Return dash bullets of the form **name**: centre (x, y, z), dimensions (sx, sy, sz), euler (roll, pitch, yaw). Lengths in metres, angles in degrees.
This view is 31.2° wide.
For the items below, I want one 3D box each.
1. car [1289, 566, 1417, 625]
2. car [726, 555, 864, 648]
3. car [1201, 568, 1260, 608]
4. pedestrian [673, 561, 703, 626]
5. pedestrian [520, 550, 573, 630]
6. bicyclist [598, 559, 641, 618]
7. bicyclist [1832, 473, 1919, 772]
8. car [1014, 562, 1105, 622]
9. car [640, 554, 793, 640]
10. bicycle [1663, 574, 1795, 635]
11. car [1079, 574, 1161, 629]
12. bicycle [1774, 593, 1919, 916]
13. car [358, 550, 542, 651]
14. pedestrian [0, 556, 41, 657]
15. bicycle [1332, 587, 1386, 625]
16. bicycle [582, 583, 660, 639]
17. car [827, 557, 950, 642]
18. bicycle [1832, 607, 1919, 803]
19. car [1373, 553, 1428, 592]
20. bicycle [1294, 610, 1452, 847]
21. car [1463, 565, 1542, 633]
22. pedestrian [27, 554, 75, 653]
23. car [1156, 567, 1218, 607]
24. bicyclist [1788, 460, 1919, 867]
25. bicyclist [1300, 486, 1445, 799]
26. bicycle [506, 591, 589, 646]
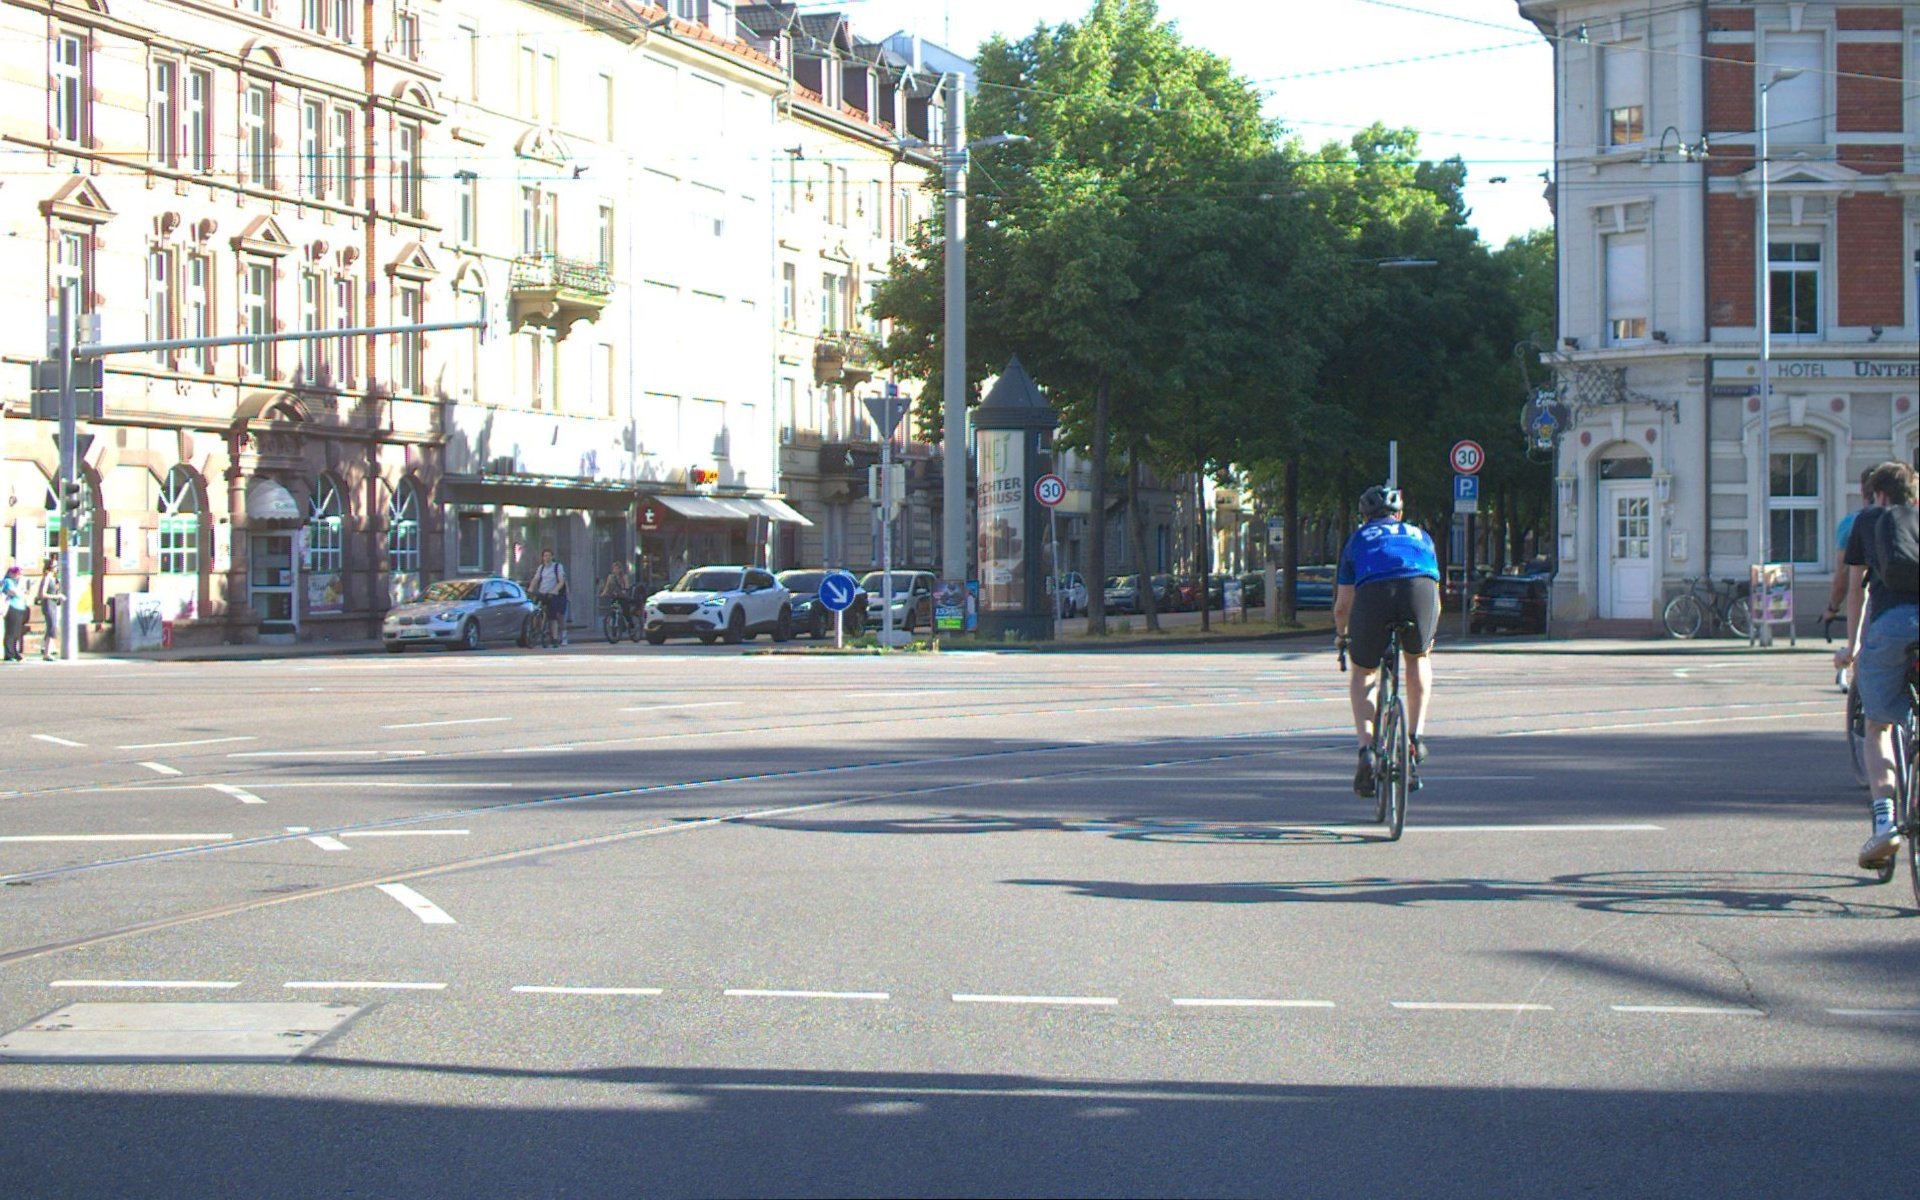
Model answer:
- **car**: centre (13.154, -0.168, 114.983), dimensions (3.990, 1.897, 1.998), euler (1, 0, 16)
- **car**: centre (-3.495, 0.016, 73.600), dimensions (1.994, 1.897, 3.998), euler (1, 1, 11)
- **car**: centre (10.714, -0.483, 136.054), dimensions (1.560, 1.508, 3.653), euler (1, 1, 17)
- **pedestrian**: centre (-6.841, -0.161, 86.476), dimensions (0.544, 1.626, 0.706), euler (1, 0, 13)
- **pedestrian**: centre (-7.837, -0.191, 65.217), dimensions (0.821, 1.507, 0.598), euler (1, 0, 15)
- **bicyclist**: centre (-6.988, -0.236, 70.578), dimensions (0.632, 1.181, 0.684), euler (1, 0, 21)
- **bicyclist**: centre (5.246, 0.119, 19.158), dimensions (0.690, 1.627, 0.883), euler (1, 0, 12)
- **car**: centre (3.274, -0.282, 112.713), dimensions (1.995, 1.897, 3.997), euler (1, 1, 17)
- **car**: centre (-4.737, -0.071, 67.452), dimensions (1.994, 1.612, 3.998), euler (1, 1, 11)
- **bicycle**: centre (12.764, 0.072, 57.086), dimensions (2.049, 0.994, 0.630), euler (0, 0, 3)
- **car**: centre (5.729, 0.047, 122.692), dimensions (1.995, 1.897, 3.997), euler (1, 1, 17)
- **bicycle**: centre (3.866, 0.598, 14.132), dimensions (0.755, 1.232, 1.702), euler (1, 1, 5)
- **car**: centre (-9.917, -0.008, 67.146), dimensions (1.995, 1.897, 3.997), euler (1, 1, 17)
- **pedestrian**: centre (-15.341, 0.101, 55.915), dimensions (0.633, 1.628, 0.701), euler (1, 0, -4)
- **bicycle**: centre (11.498, 0.165, 99.080), dimensions (0.626, 1.081, 1.703), euler (1, 1, -31)
- **bicycle**: centre (-6.956, 0.219, 70.692), dimensions (0.651, 1.119, 2.250), euler (1, 1, 21)
- **car**: centre (-1.632, -0.020, 79.807), dimensions (1.994, 1.897, 3.998), euler (1, 1, 11)
- **bicycle**: centre (5.256, 0.564, 19.259), dimensions (0.650, 1.028, 1.770), euler (1, 1, 13)
- **car**: centre (17.268, -1.073, 134.699), dimensions (1.560, 1.508, 3.653), euler (1, 1, 17)
- **bicycle**: centre (2.021, 0.605, 17.011), dimensions (0.626, 1.081, 1.703), euler (1, 1, 2)
- **car**: centre (13.060, -0.043, 82.601), dimensions (1.692, 1.559, 3.839), euler (1, 1, 11)
- **pedestrian**: centre (-15.134, 0.061, 57.246), dimensions (0.633, 1.628, 0.701), euler (1, 0, -4)
- **car**: centre (8.718, -0.513, 131.934), dimensions (1.560, 1.508, 3.653), euler (1, 1, 17)
- **bicyclist**: centre (3.858, 0.248, 13.986), dimensions (0.806, 1.601, 0.883), euler (1, 0, 5)
- **bicyclist**: centre (2.022, 0.192, 16.949), dimensions (0.639, 1.489, 0.883), euler (1, 2, 4)
- **bicycle**: centre (-7.823, 0.336, 65.297), dimensions (0.763, 1.004, 2.395), euler (1, 1, 13)
